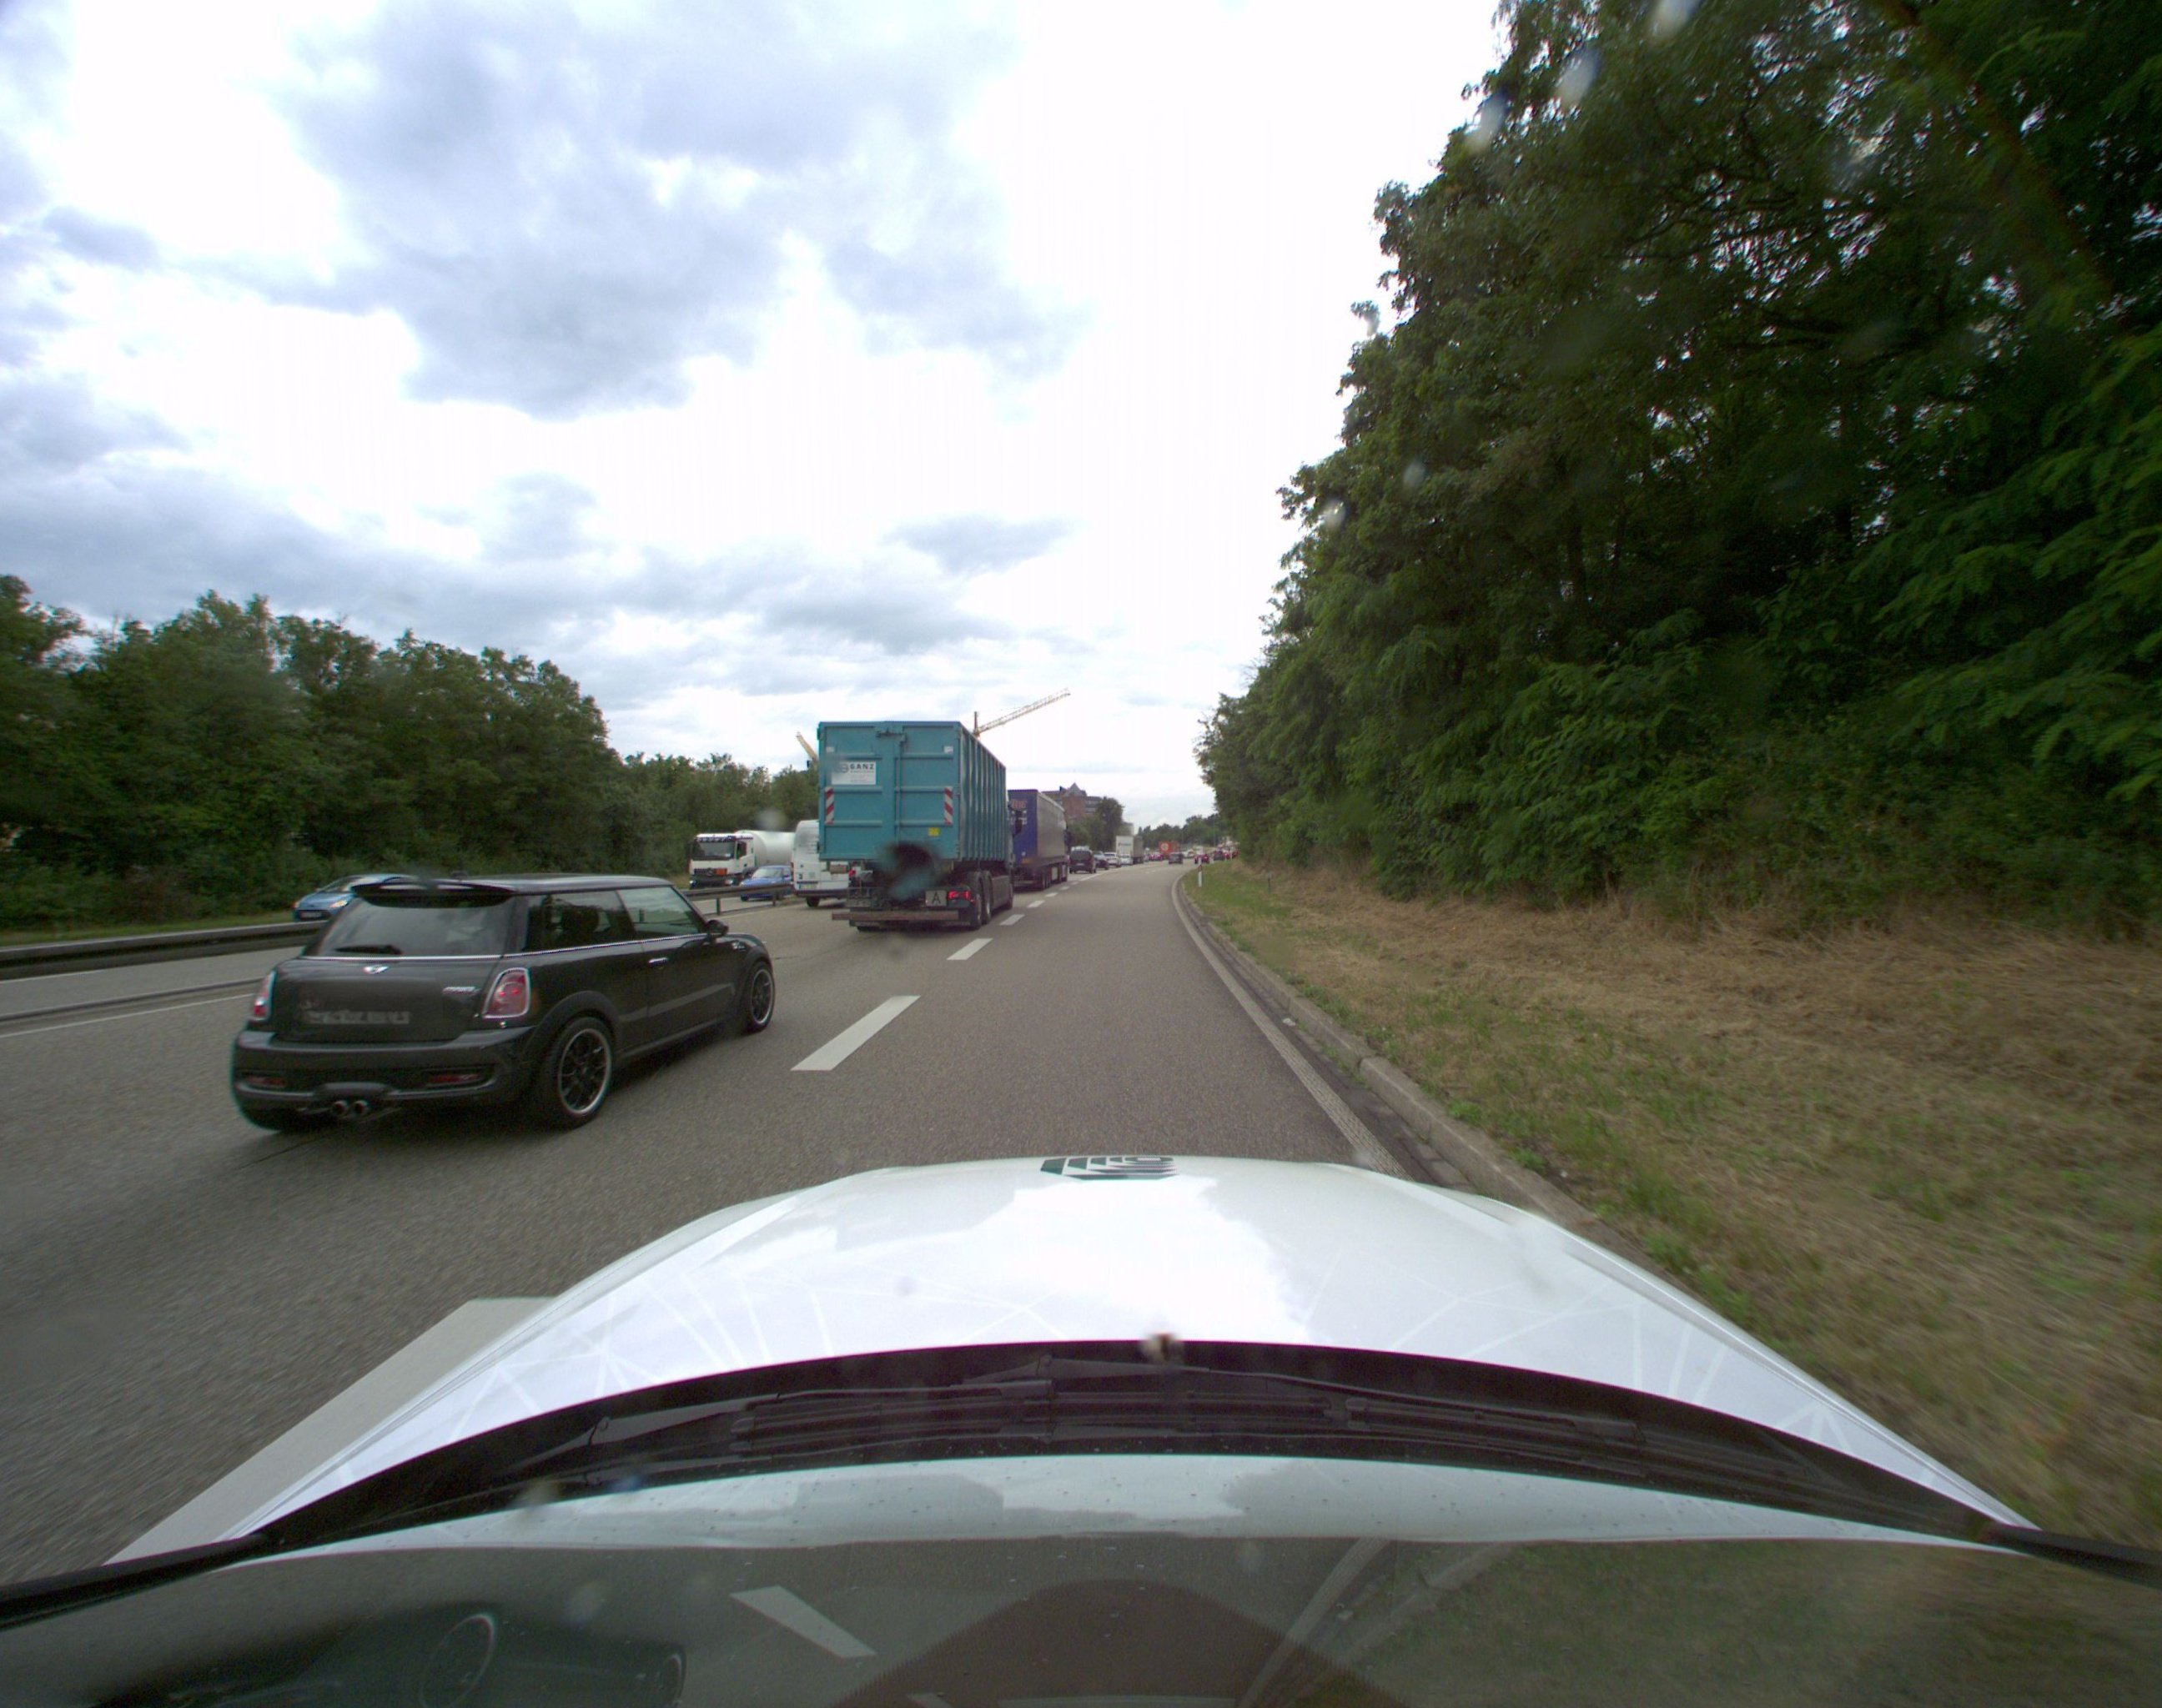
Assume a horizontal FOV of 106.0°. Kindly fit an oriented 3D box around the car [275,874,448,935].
[{"bbox_3d":[-20.727,1.390,23.673,1.585,1.501,3.706,-2,0,3],"label":"car"}]

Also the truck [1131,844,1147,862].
[{"bbox_3d":[13.256,-0.183,184.719,2.723,4.138,10.722,0,-1,8],"label":"truck"}]

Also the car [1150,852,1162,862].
[{"bbox_3d":[13.751,0.583,149.508,1.706,1.684,4.012,0,-1,11],"label":"car"}]

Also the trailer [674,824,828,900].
[{"bbox_3d":[-17.112,0.377,43.692,2.460,3.396,12.473,-2,0,3],"label":"trailer"}]

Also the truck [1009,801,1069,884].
[{"bbox_3d":[-2.094,-0.535,43.263,2.550,4.043,6.593,0,-1,3],"label":"truck"}]

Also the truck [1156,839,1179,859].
[{"bbox_3d":[19.164,-1.023,179.107,3.466,4.073,13.638,-2,0,12],"label":"truck"}]

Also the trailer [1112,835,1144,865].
[{"bbox_3d":[6.879,-0.475,116.707,3.279,4.036,13.131,0,-1,9],"label":"trailer"}]

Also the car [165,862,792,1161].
[{"bbox_3d":[-3.655,0.804,5.893,1.741,1.422,3.664,-1,0,1],"label":"car"}]

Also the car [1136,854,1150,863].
[{"bbox_3d":[10.570,0.739,138.745,1.788,1.604,4.270,0,-1,11],"label":"car"}]

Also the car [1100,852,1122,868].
[{"bbox_3d":[3.467,0.683,92.374,1.945,1.695,4.877,-2,0,8],"label":"car"}]

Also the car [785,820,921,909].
[{"bbox_3d":[-7.295,0.327,27.053,2.212,2.578,6.804,0,-1,4],"label":"car"}]

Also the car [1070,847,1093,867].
[{"bbox_3d":[0.041,0.366,104.290,1.981,2.553,5.377,-2,0,10],"label":"car"}]

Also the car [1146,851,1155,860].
[{"bbox_3d":[15.358,0.386,179.793,1.806,2.013,4.011,-2,0,10],"label":"car"}]

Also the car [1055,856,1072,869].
[{"bbox_3d":[-1.969,0.977,91.893,1.433,1.387,3.053,-1,0,6],"label":"car"}]

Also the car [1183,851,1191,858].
[{"bbox_3d":[27.733,0.127,212.537,1.603,2.013,4.015,-2,0,14],"label":"car"}]

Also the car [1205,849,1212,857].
[{"bbox_3d":[34.052,-0.199,217.342,1.939,2.013,4.011,-1,0,10],"label":"car"}]

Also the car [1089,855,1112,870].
[{"bbox_3d":[1.931,0.834,79.845,1.838,1.460,4.839,0,-1,6],"label":"car"}]

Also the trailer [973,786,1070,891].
[{"bbox_3d":[-2.381,-0.550,37.971,2.615,4.023,13.478,0,-1,4],"label":"trailer"}]

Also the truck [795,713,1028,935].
[{"bbox_3d":[-3.338,-0.522,19.896,2.918,3.796,11.334,-2,0,1],"label":"truck"}]

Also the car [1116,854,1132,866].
[{"bbox_3d":[5.509,0.788,103.698,1.755,1.478,4.096,-2,0,7],"label":"car"}]

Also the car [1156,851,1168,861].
[{"bbox_3d":[16.335,0.329,164.486,1.981,2.013,4.011,-2,0,10],"label":"car"}]

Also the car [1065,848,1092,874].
[{"bbox_3d":[-0.202,0.529,66.593,1.981,1.898,4.984,-4,0,0],"label":"car"}]

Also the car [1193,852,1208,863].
[{"bbox_3d":[16.804,0.489,114.466,1.812,1.482,4.014,-2,0,13],"label":"car"}]

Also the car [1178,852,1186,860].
[{"bbox_3d":[24.972,0.590,201.291,1.604,1.948,3.716,0,-1,11],"label":"car"}]

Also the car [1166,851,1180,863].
[{"bbox_3d":[12.937,0.417,114.477,1.817,1.482,4.005,-2,0,4],"label":"car"}]
